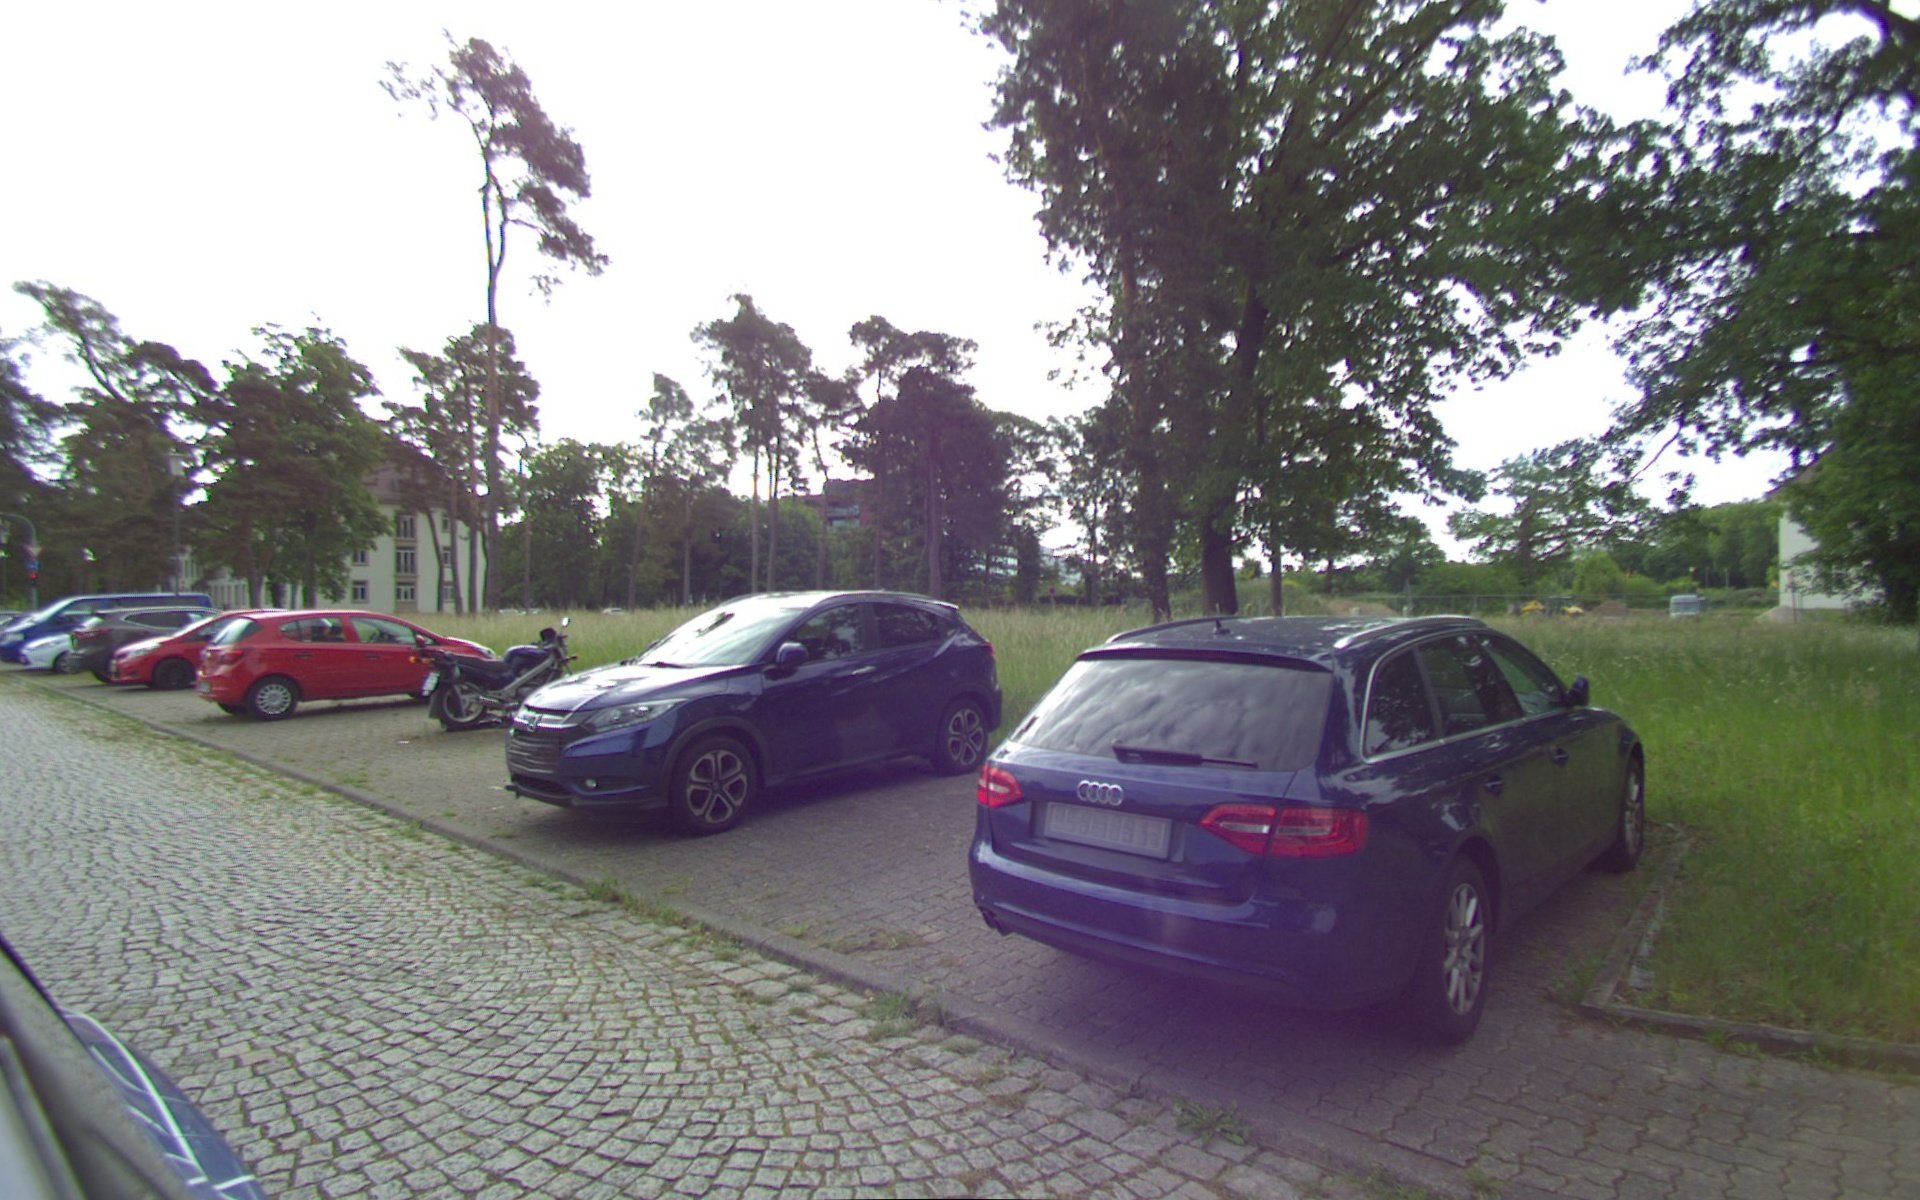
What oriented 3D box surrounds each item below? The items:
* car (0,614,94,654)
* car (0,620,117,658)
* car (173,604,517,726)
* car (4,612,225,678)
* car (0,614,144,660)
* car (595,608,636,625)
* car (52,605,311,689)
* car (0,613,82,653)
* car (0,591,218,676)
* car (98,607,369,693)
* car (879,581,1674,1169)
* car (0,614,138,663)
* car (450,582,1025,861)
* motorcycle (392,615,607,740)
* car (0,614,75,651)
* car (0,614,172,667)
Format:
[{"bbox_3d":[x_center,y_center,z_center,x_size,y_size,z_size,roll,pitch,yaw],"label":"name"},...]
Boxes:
[{"bbox_3d":[-37.235,1.334,40.004,1.934,1.519,4.330,-1,-1,39],"label":"car"},{"bbox_3d":[-33.644,1.399,37.016,1.831,1.276,4.121,-1,-1,42],"label":"car"},{"bbox_3d":[-9.029,0.853,15.106,1.903,1.536,4.014,-1,-1,40],"label":"car"},{"bbox_3d":[-21.620,1.096,26.010,1.779,1.522,4.125,-1,-1,39],"label":"car"},{"bbox_3d":[-31.430,1.255,35.518,1.845,1.493,4.121,-1,-1,42],"label":"car"},{"bbox_3d":[-37.888,1.827,111.314,1.723,1.820,3.942,-1,-1,44],"label":"car"},{"bbox_3d":[-16.787,0.938,21.984,1.984,1.634,4.125,-1,-1,39],"label":"car"},{"bbox_3d":[-39.268,1.359,41.847,1.933,1.560,4.210,-1,-1,38],"label":"car"},{"bbox_3d":[-23.517,0.851,27.779,2.114,2.138,4.733,-1,-1,41],"label":"car"},{"bbox_3d":[-14.526,0.926,20.406,1.906,1.522,4.124,-1,-1,40],"label":"car"},{"bbox_3d":[1.857,0.687,4.825,1.975,1.472,4.256,-1,0,43],"label":"car"},{"bbox_3d":[-29.664,1.224,33.093,1.865,1.503,4.120,-1,-1,43],"label":"car"},{"bbox_3d":[-1.492,0.687,8.060,1.886,1.589,4.185,-1,0,40],"label":"car"},{"bbox_3d":[-5.535,0.878,12.302,0.718,1.301,2.250,-1,1,42],"label":"motorcycle"},{"bbox_3d":[-41.129,1.397,43.864,1.904,1.554,3.946,-1,-1,40],"label":"car"},{"bbox_3d":[-27.255,1.205,31.534,1.845,1.509,4.024,-1,-1,42],"label":"car"}]
